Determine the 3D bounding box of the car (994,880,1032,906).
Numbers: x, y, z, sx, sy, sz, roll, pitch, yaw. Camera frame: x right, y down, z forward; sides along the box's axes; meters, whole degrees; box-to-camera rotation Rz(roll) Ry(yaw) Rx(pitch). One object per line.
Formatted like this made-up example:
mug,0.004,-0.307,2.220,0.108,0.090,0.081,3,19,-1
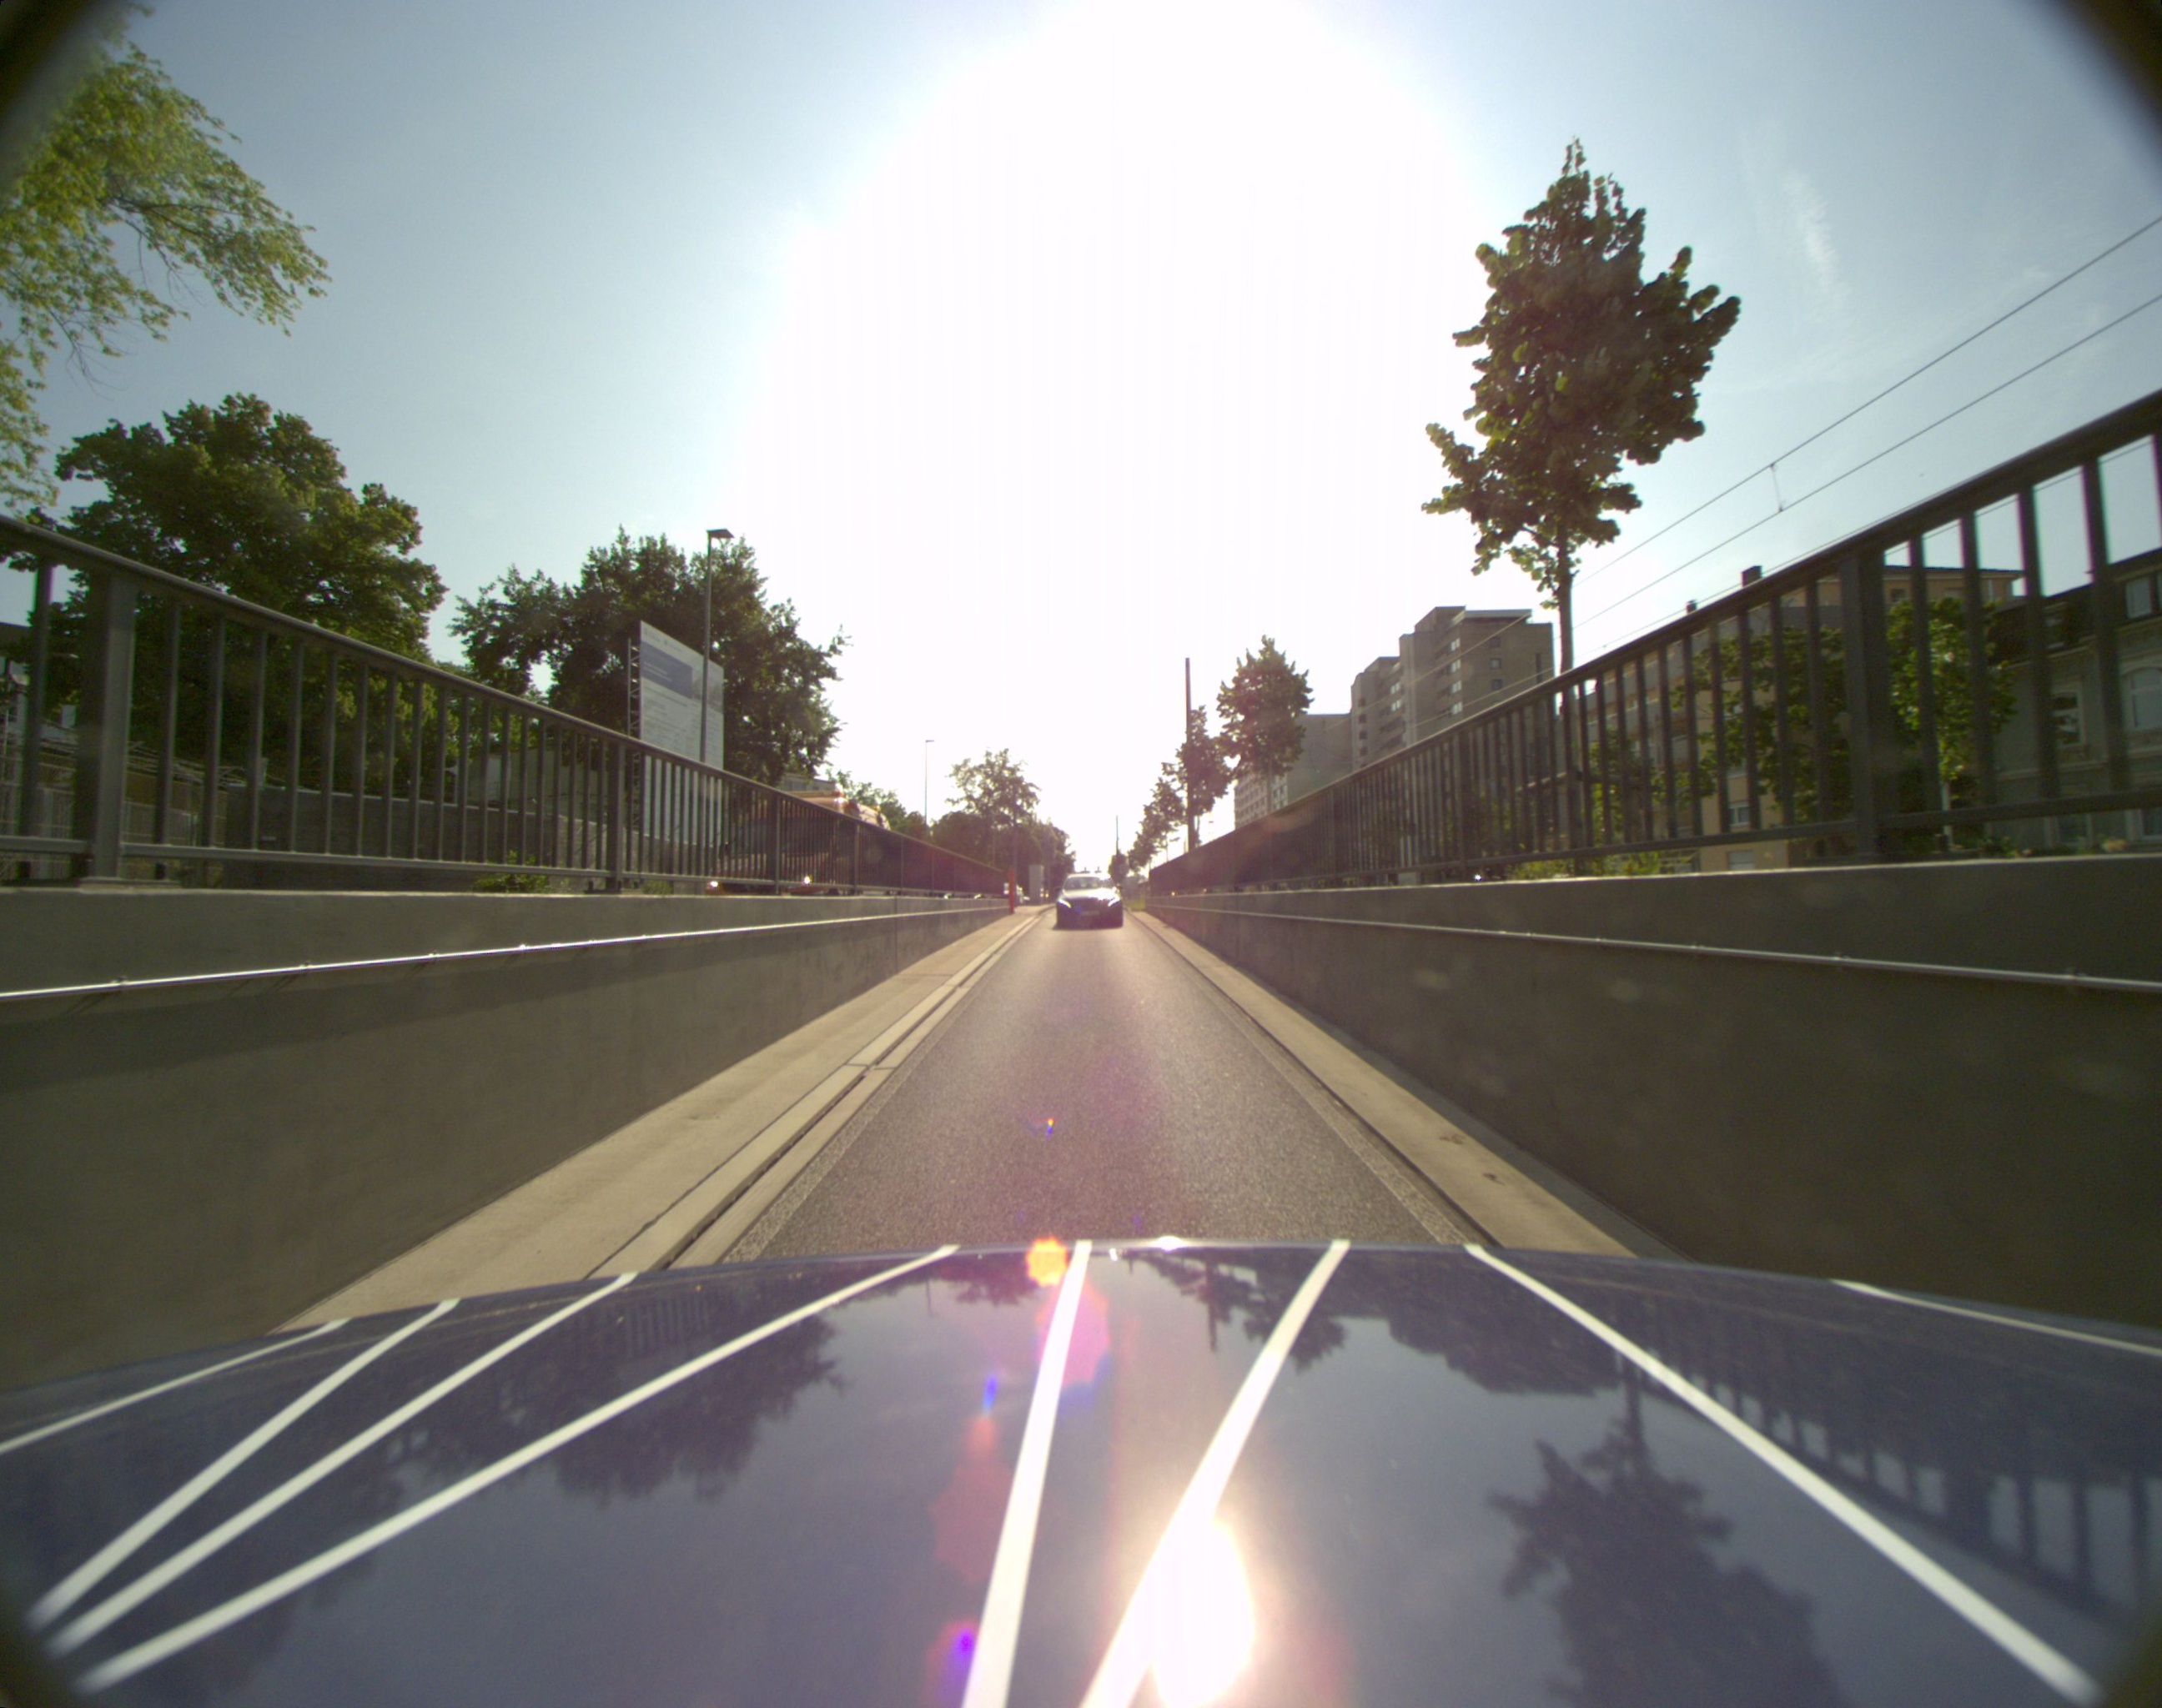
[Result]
car,-4.321,2.506,48.974,1.897,1.560,4.253,-2,-3,2

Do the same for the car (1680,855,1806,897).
car,25.816,0.925,29.829,1.522,1.454,3.827,0,-4,0

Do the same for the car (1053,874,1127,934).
car,0.305,1.326,20.860,1.759,1.436,4.620,-1,-3,2

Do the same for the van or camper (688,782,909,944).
van or camper,-5.131,0.275,14.977,1.991,2.456,6.064,-3,-3,0

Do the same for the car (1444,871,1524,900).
car,22.284,1.793,42.228,1.999,1.503,4.400,-1,-3,0
